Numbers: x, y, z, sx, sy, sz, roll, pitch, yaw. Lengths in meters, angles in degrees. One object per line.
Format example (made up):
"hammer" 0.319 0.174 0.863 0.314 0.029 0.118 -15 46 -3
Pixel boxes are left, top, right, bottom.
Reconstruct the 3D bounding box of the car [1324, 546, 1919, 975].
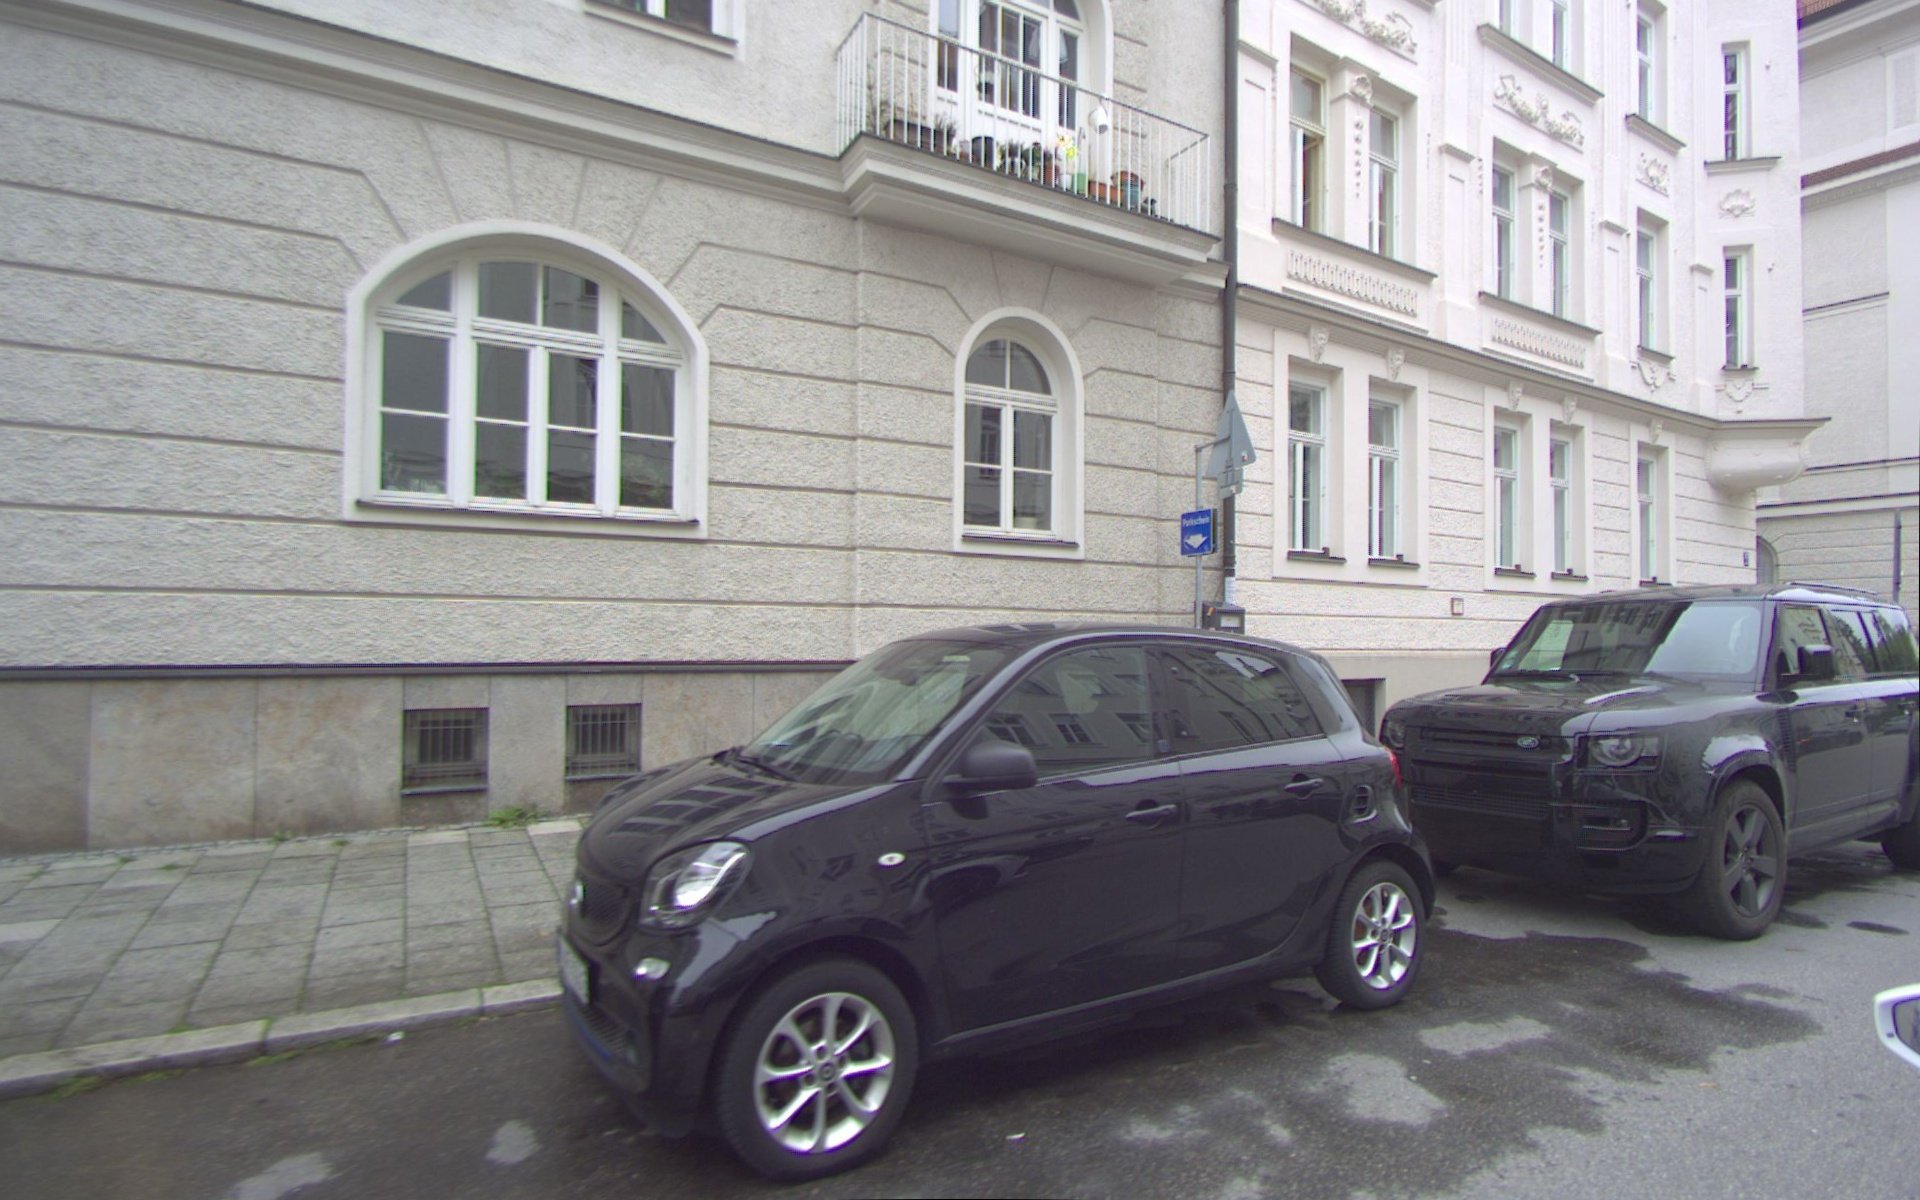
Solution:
"car" 4.678 0.814 6.581 4.712 1.919 1.826 2 -3 -33

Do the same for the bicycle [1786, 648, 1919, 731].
"bicycle" 15.872 1.533 17.732 2.686 1.259 1.145 2 2 -32

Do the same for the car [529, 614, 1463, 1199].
"car" 0.272 0.876 4.068 3.493 1.533 1.607 2 -3 -33

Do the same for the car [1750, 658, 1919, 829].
"car" 9.787 1.294 9.871 4.197 1.412 1.827 2 -3 -32
